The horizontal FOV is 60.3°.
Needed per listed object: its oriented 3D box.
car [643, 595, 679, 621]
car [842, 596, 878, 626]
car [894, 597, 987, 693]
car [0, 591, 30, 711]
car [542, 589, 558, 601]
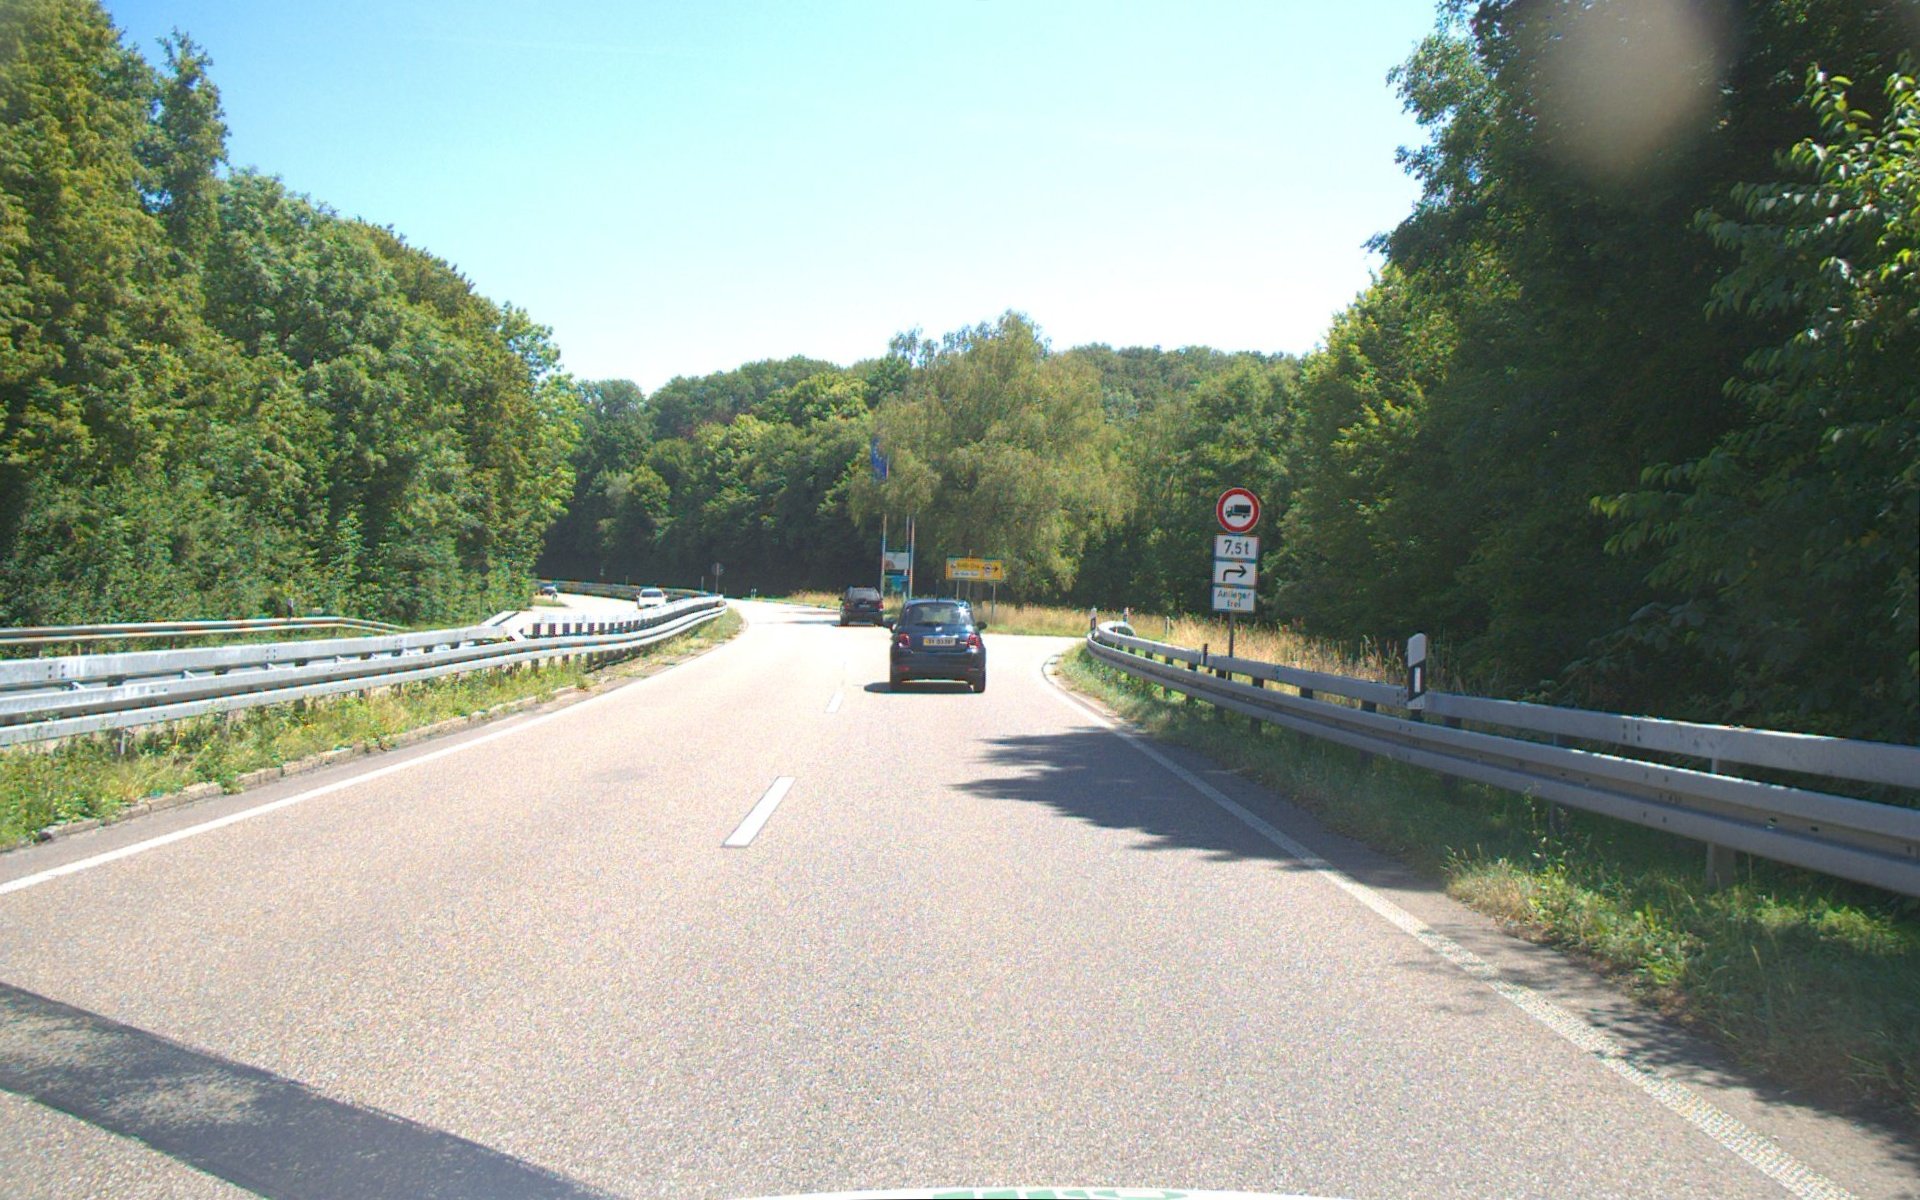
[{"bbox_3d":[-18.864,0.514,104.389,1.721,1.600,4.410,0,0,-3],"label":"car"},{"bbox_3d":[-4.458,0.477,73.604,1.495,1.336,3.411,0,0,-5],"label":"car"},{"bbox_3d":[-0.339,0.717,28.265,1.483,1.527,3.589,0,0,-1],"label":"car"},{"bbox_3d":[-13.305,0.662,19.747,1.719,1.555,4.684,0,0,0],"label":"car"},{"bbox_3d":[-46.847,-0.606,188.994,1.419,1.405,3.825,0,0,-20],"label":"car"}]
